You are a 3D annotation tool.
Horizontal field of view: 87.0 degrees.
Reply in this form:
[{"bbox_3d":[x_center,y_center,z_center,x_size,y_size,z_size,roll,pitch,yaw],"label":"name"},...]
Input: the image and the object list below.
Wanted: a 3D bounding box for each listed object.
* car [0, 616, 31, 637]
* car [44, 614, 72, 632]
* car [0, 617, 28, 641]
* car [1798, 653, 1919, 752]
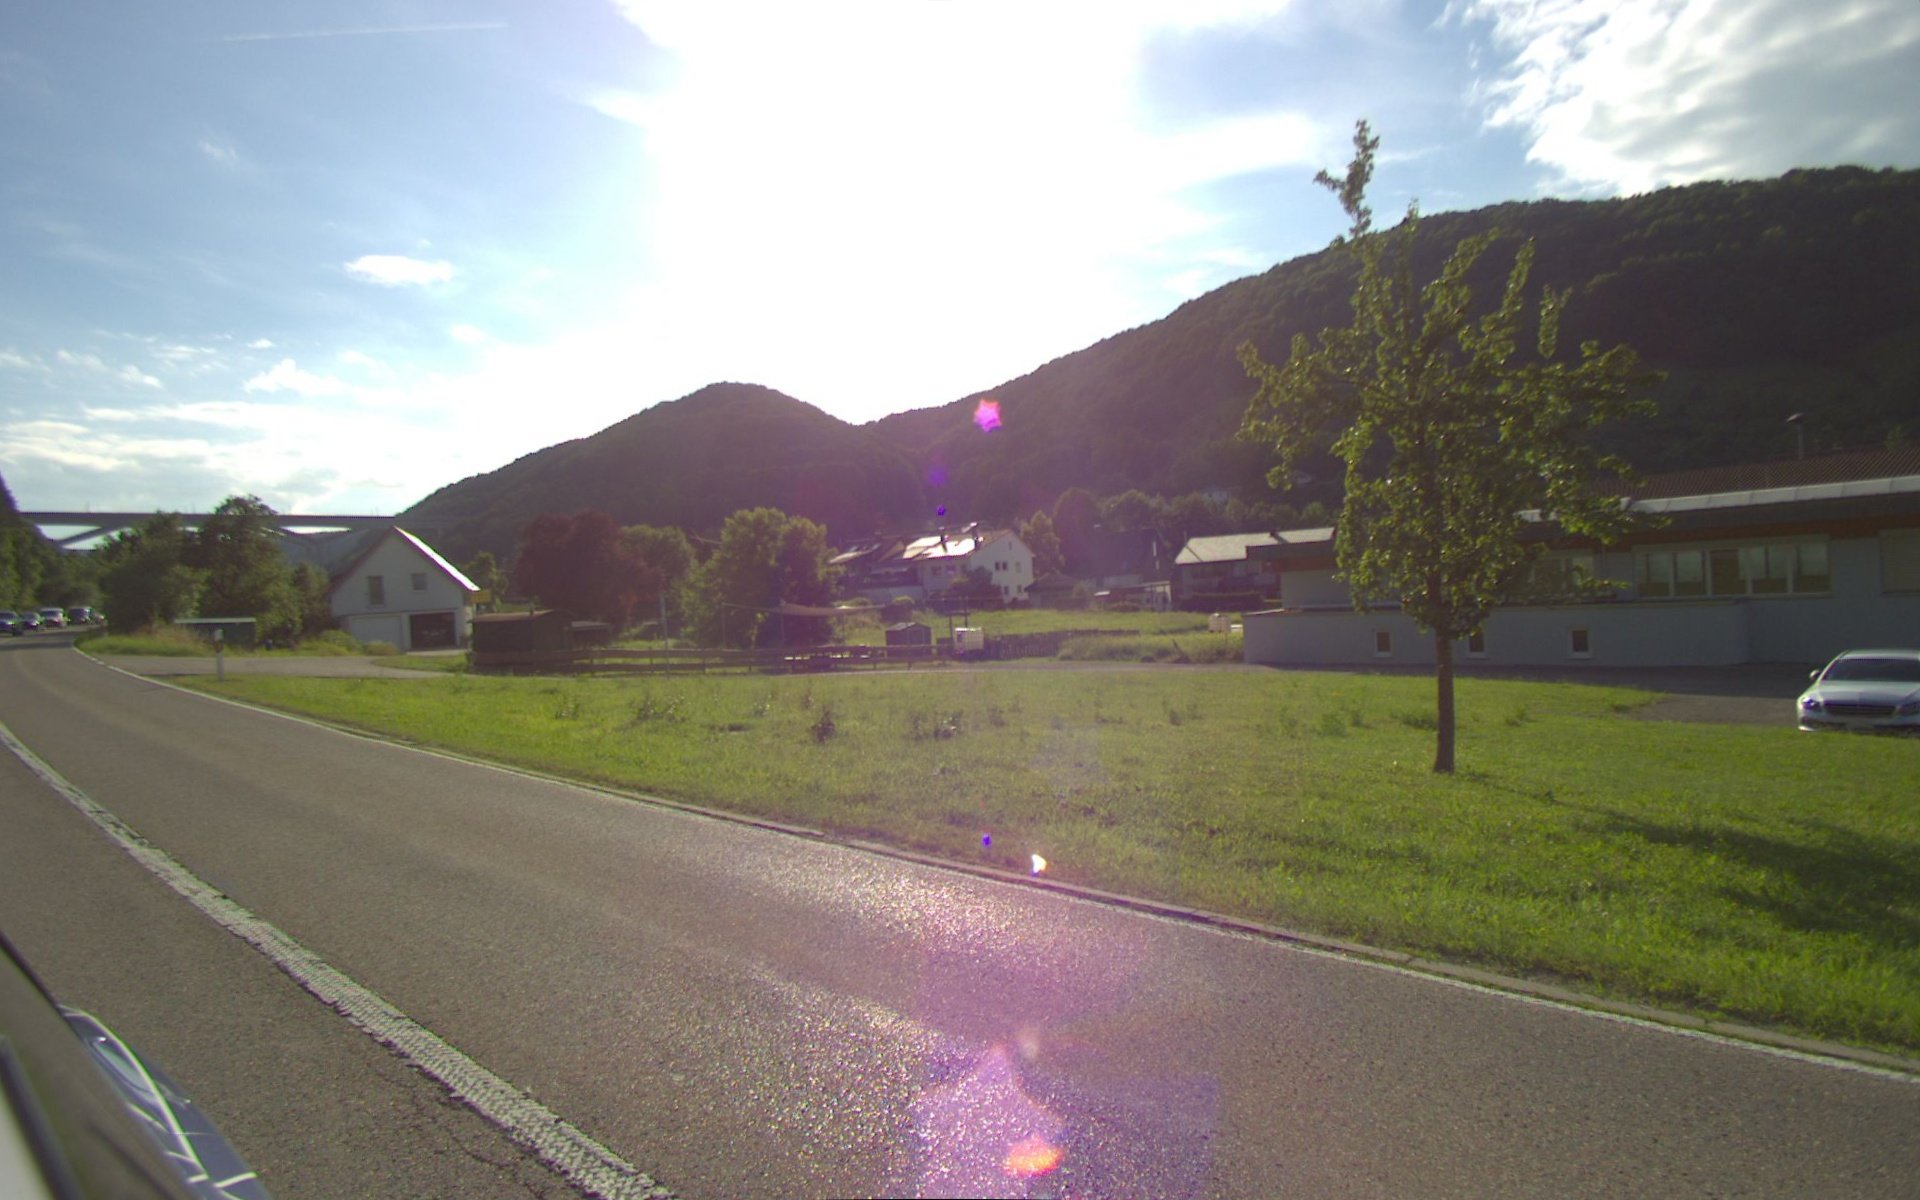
[{"bbox_3d":[-70.917,1.939,76.051,1.606,1.490,3.684,-1,0,-42],"label":"car"},{"bbox_3d":[-79.680,2.005,89.383,3.680,1.490,1.608,-1,0,44],"label":"car"},{"bbox_3d":[-60.709,1.819,64.436,3.677,1.490,1.609,-1,0,41],"label":"car"},{"bbox_3d":[16.228,1.711,17.631,3.837,1.379,1.856,0,0,-40],"label":"car"}]
